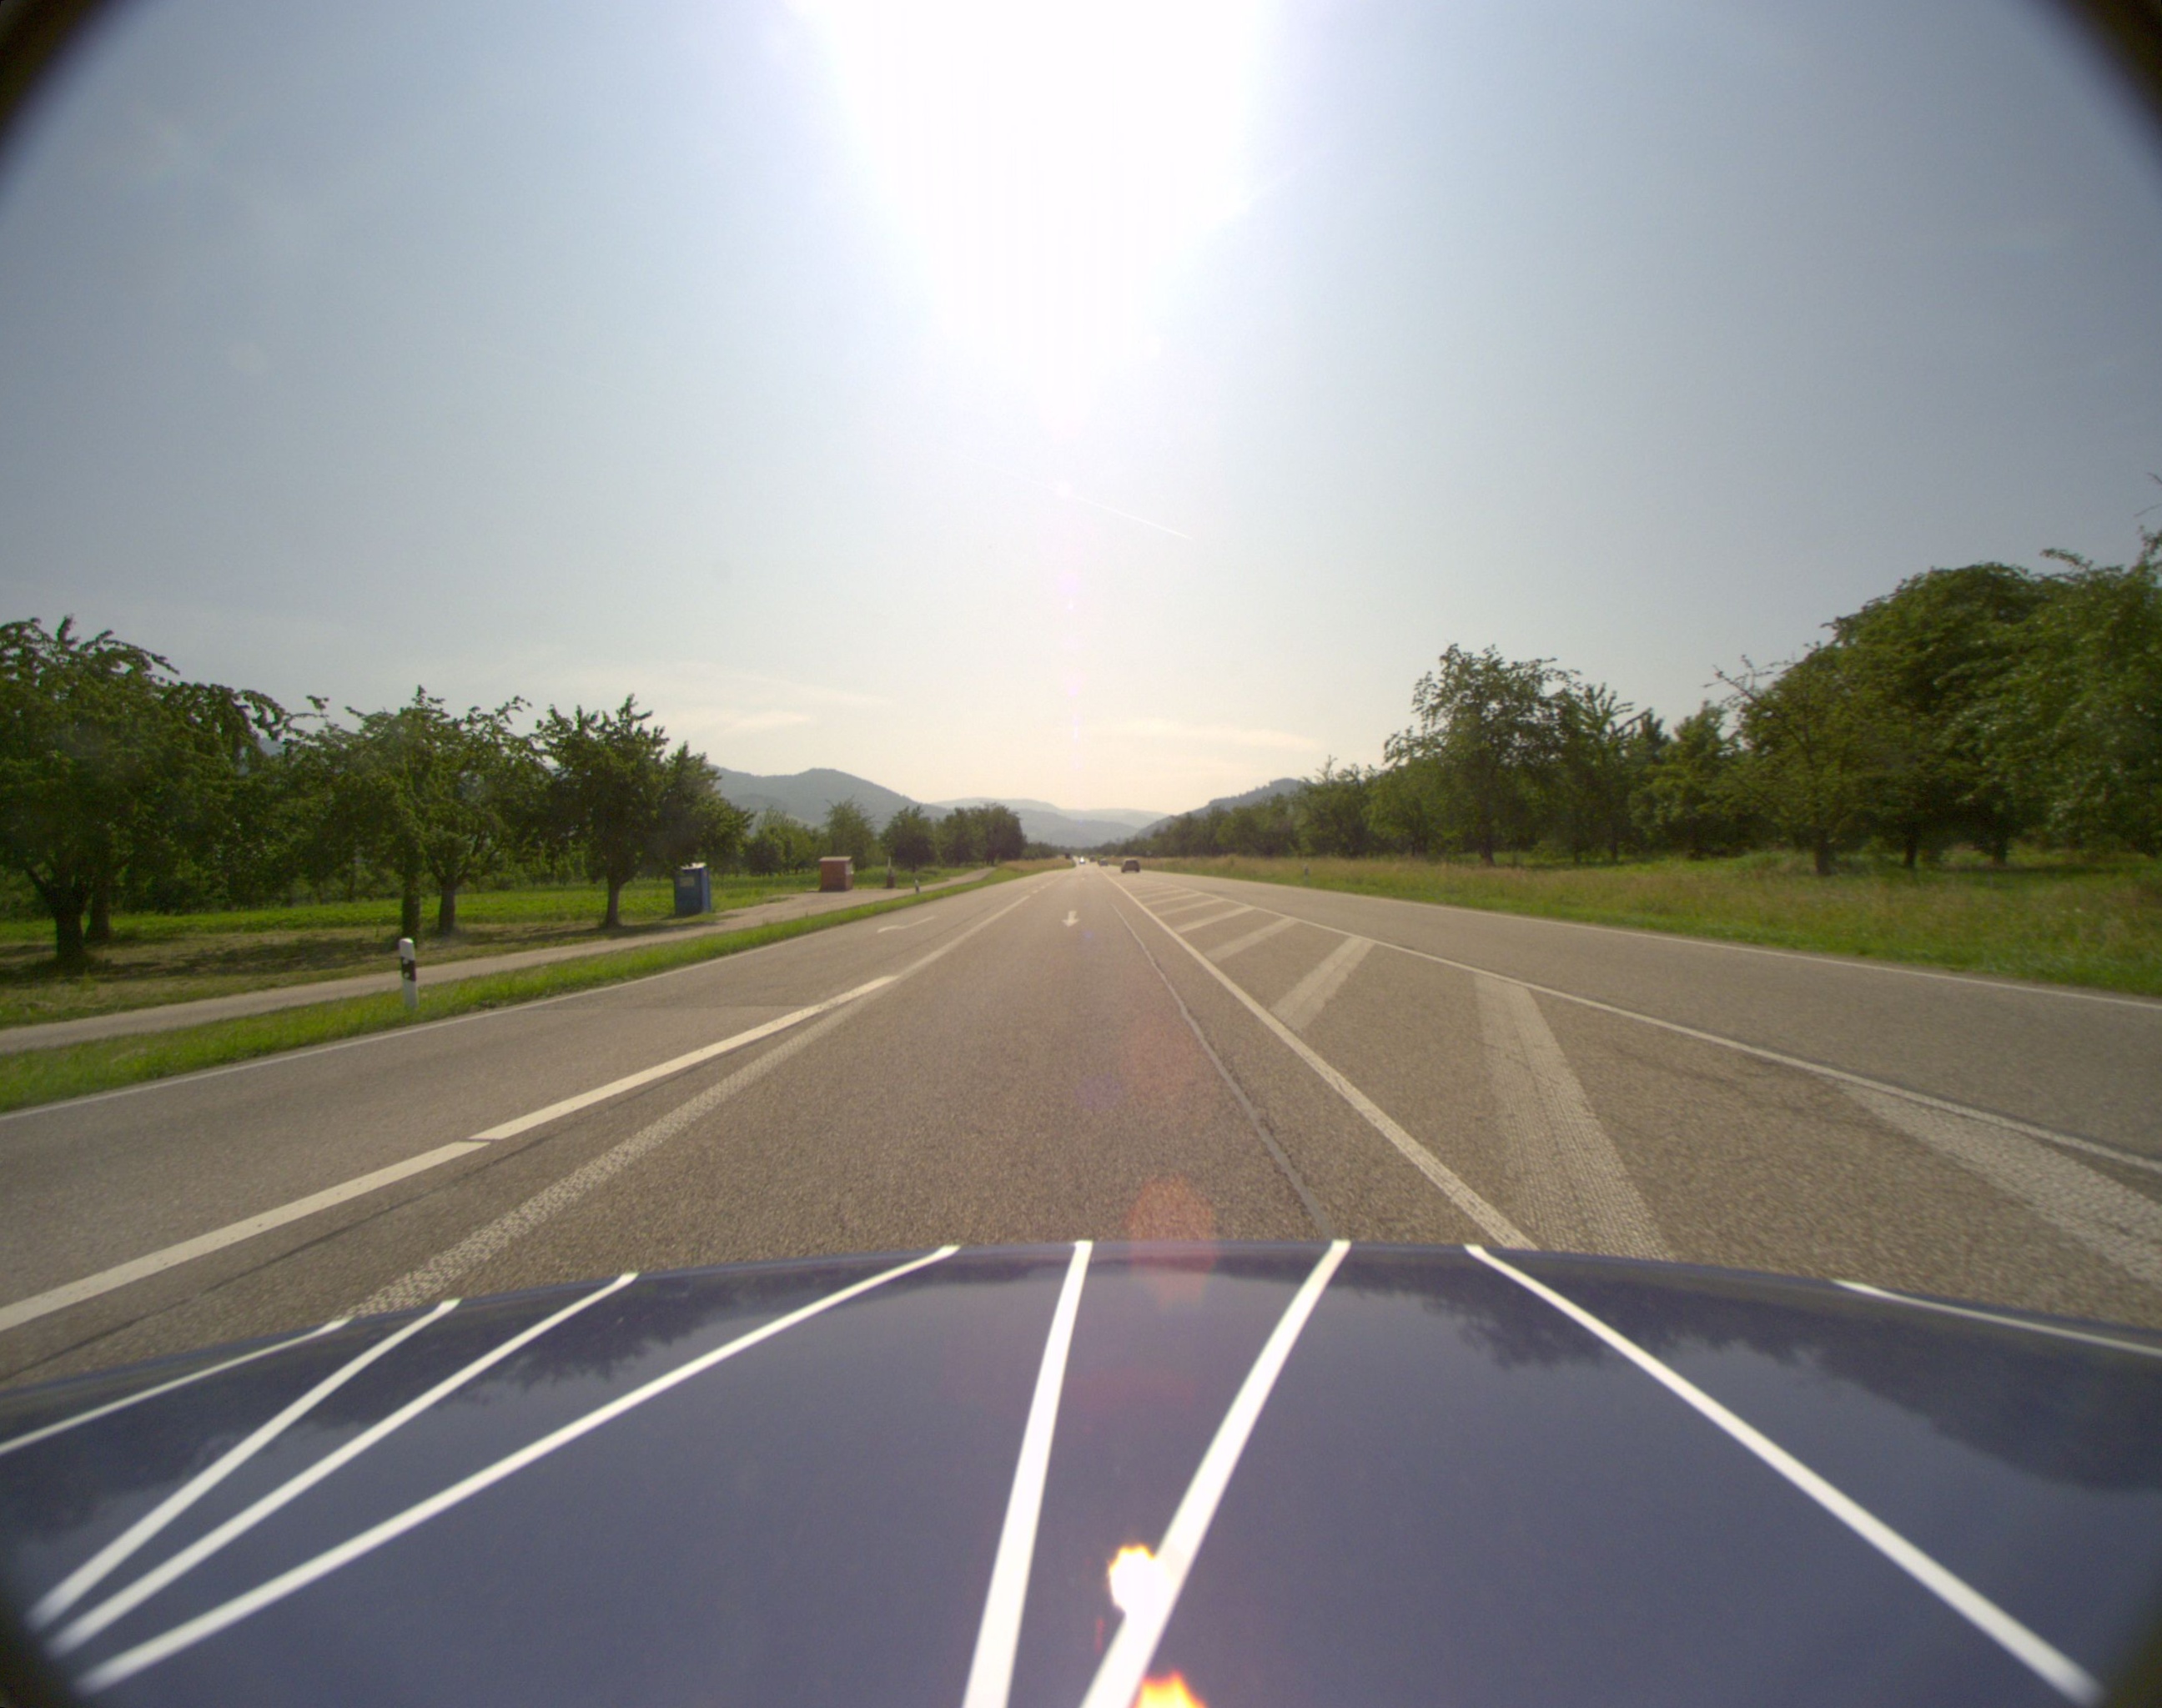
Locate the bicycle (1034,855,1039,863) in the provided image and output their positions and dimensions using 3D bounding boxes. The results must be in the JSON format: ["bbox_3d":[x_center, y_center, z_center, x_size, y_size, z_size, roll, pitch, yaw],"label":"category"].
[{"bbox_3d":[-8.667,0.971,147.505,0.751,1.410,2.221,-1,0,0],"label":"bicycle"}]

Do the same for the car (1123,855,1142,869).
[{"bbox_3d":[5.448,0.805,80.673,1.702,1.408,3.824,-2,0,-2],"label":"car"}]

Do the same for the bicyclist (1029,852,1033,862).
[{"bbox_3d":[-9.694,0.598,147.583,0.751,1.918,0.827,-1,0,0],"label":"bicyclist"}]

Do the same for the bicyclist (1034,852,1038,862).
[{"bbox_3d":[-8.679,0.626,147.481,0.751,1.856,0.869,-1,0,0],"label":"bicyclist"}]

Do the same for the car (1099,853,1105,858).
[{"bbox_3d":[5.961,0.373,218.072,1.629,1.448,3.621,-2,0,-1],"label":"car"}]

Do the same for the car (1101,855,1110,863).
[{"bbox_3d":[5.146,1.067,161.602,1.679,1.485,4.136,-2,0,0],"label":"car"}]

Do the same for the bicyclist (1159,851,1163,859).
[{"bbox_3d":[15.773,0.212,149.513,0.742,1.446,0.863,-2,1,1],"label":"bicyclist"}]

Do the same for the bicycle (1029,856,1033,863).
[{"bbox_3d":[-9.691,1.003,147.596,0.751,1.410,2.221,-1,0,0],"label":"bicycle"}]
